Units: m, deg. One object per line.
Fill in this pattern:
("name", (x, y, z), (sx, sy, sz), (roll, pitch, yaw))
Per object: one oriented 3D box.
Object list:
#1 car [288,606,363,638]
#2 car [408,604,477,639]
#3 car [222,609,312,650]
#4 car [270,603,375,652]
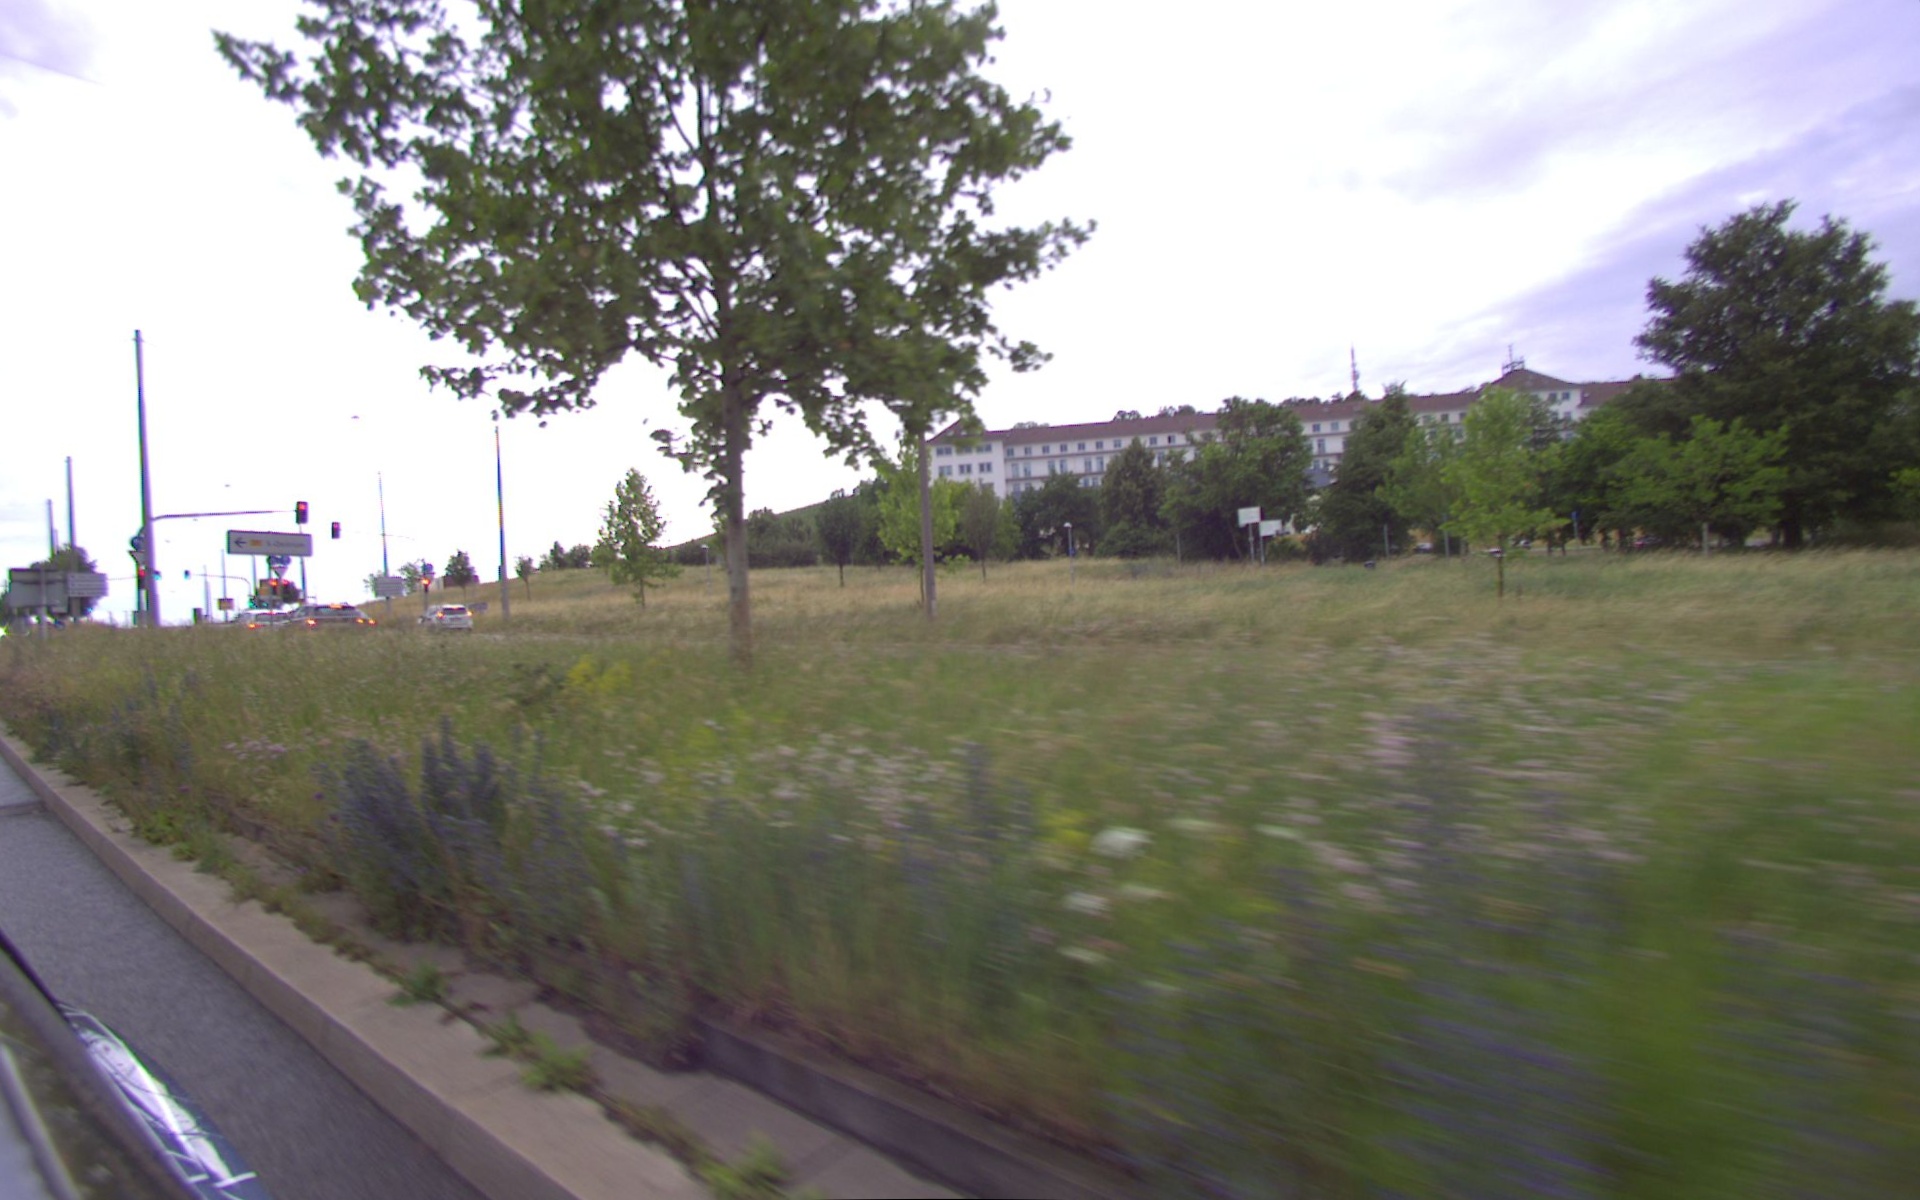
("car", (-27.825, 0.981, 44.337), (4.018, 1.316, 1.783), (-2, -1, 43))
("car", (-26.832, 1.095, 52.396), (1.969, 1.656, 4.805), (-3, 1, -41))
("car", (-27.284, 1.165, 39.802), (4.437, 1.433, 1.940), (-2, 1, 43))
("car", (-22.239, 0.949, 35.224), (4.437, 1.523, 1.972), (-2, 1, 43))
